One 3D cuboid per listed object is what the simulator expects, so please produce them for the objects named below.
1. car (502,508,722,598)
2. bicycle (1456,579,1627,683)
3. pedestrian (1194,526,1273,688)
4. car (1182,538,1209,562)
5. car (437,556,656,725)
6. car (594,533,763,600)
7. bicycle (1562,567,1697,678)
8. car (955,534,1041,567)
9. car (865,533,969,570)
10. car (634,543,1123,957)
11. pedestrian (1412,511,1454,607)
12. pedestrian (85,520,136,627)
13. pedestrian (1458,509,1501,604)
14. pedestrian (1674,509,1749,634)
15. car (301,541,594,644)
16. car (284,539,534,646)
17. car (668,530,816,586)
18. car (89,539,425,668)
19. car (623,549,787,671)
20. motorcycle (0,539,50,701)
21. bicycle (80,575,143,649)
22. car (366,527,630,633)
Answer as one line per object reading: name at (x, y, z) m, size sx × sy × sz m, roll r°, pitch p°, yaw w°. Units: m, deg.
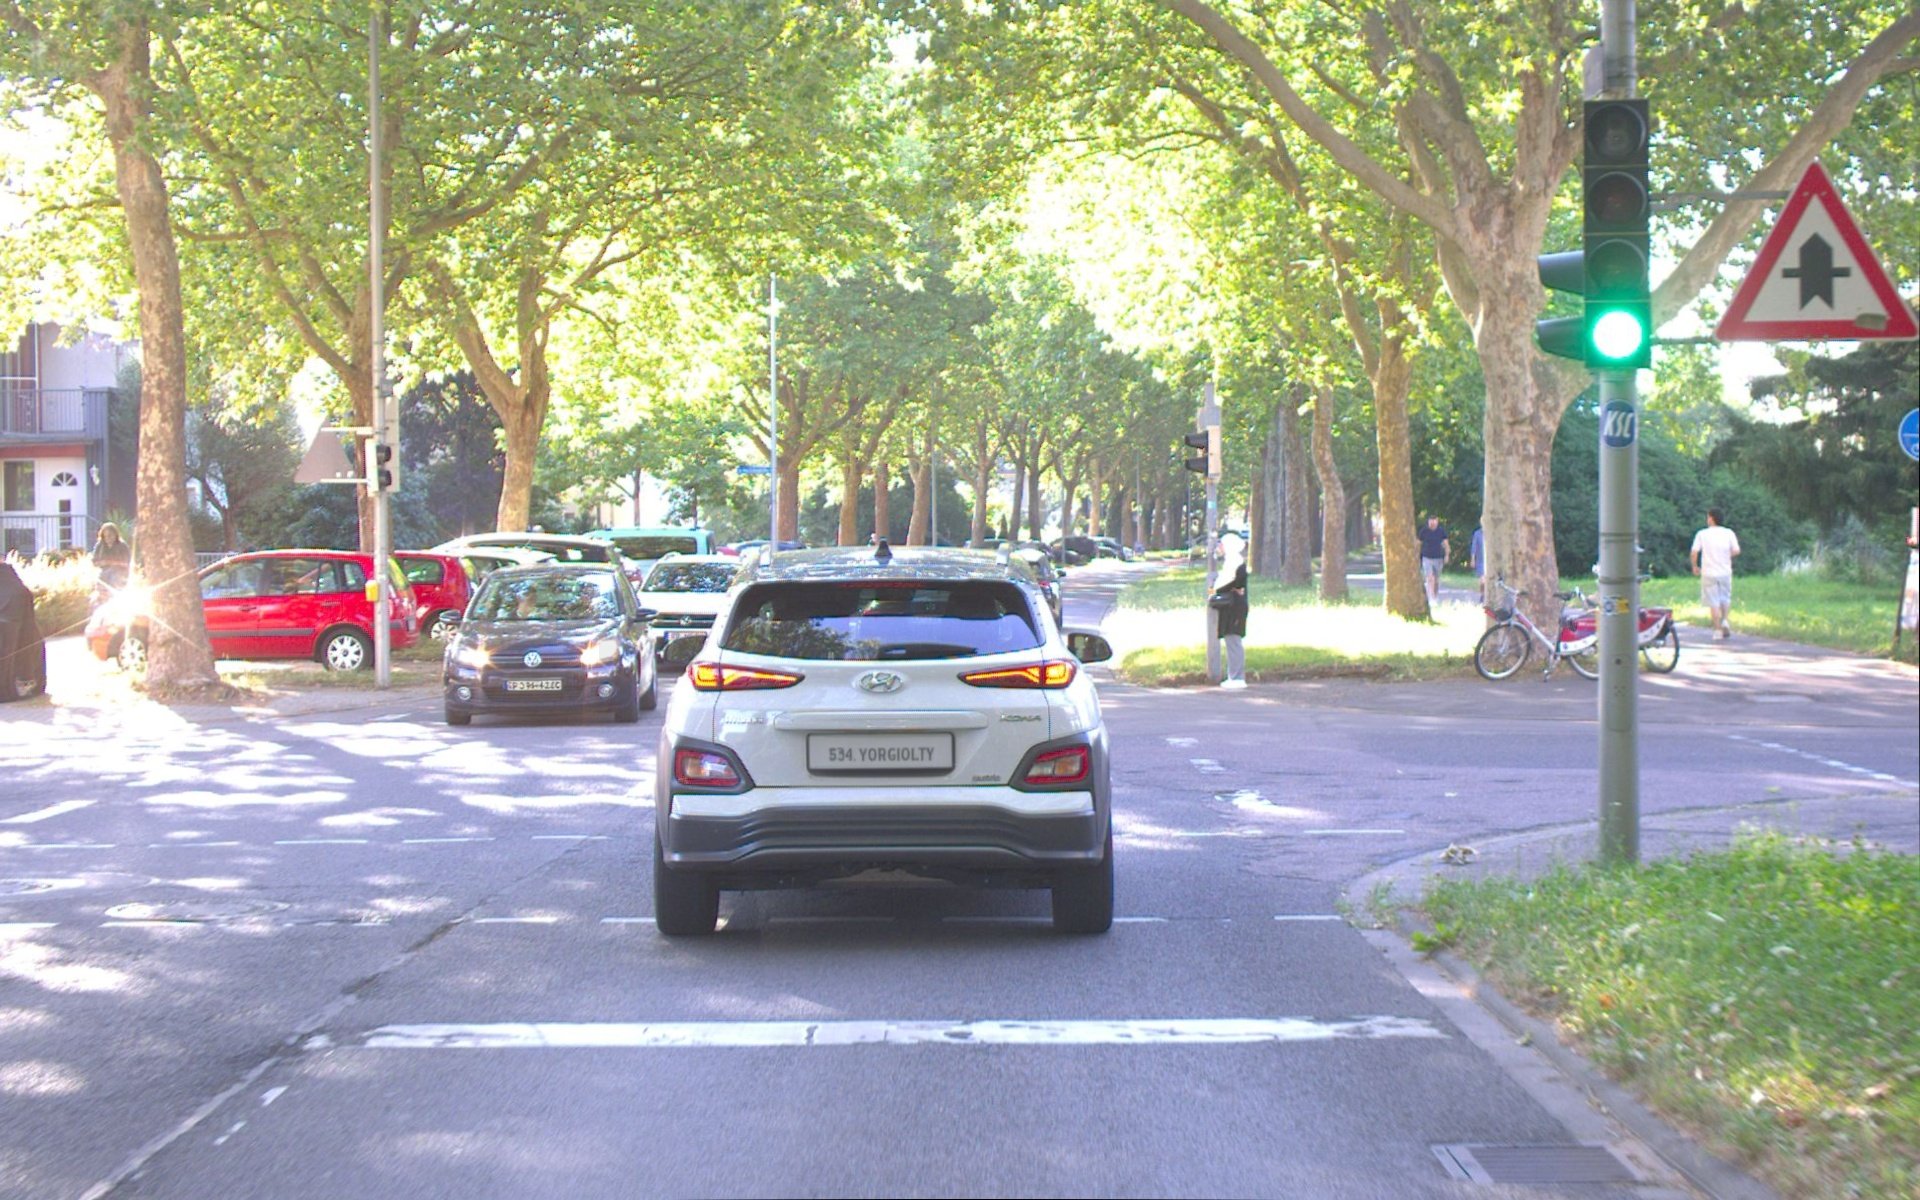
car at (-7.239, -0.991, 71.840) m, size 4.385 × 1.818 × 1.996 m, roll 0°, pitch 1°, yaw 0°
bicycle at (6.066, 0.312, 35.893) m, size 1.718 × 1.031 × 0.445 m, roll 0°, pitch 4°, yaw 36°
pedestrian at (2.982, 0.067, 37.481) m, size 0.634 × 1.713 × 0.826 m, roll -3°, pitch 1°, yaw -6°
car at (15.055, -3.194, 219.812) m, size 1.689 × 1.460 × 3.694 m, roll 1°, pitch 1°, yaw 4°
car at (-3.829, 0.333, 32.391) m, size 1.726 × 1.459 × 4.069 m, roll -1°, pitch 1°, yaw -2°
car at (-6.707, -0.801, 82.130) m, size 3.871 × 1.513 × 1.665 m, roll -1°, pitch 1°, yaw 0°
bicycle at (7.145, 0.228, 36.766) m, size 0.445 × 1.079 × 2.009 m, roll -3°, pitch 3°, yaw -19°
car at (1.883, -2.460, 171.179) m, size 4.183 × 1.579 × 2.000 m, roll 0°, pitch 1°, yaw 3°
car at (-1.656, -1.887, 133.555) m, size 3.826 × 1.311 × 1.790 m, roll 2°, pitch 1°, yaw 5°
car at (-0.340, 0.543, 14.977) m, size 1.835 × 1.550 × 4.000 m, roll 0°, pitch 1°, yaw -1°
pedestrian at (9.207, -0.802, 66.982) m, size 0.761 × 1.839 × 0.787 m, roll 0°, pitch 1°, yaw 5°
pedestrian at (-12.308, -0.386, 49.813) m, size 0.509 × 1.526 × 1.034 m, roll -1°, pitch 0°, yaw -3°
pedestrian at (10.111, -0.849, 66.899) m, size 0.755 × 1.841 × 0.802 m, roll 0°, pitch 1°, yaw 5°
pedestrian at (10.008, -0.384, 45.824) m, size 0.779 × 1.644 × 0.939 m, roll -1°, pitch 1°, yaw 1°
car at (-7.703, -0.125, 51.942) m, size 4.161 × 1.496 × 1.876 m, roll 1°, pitch 1°, yaw 0°
car at (-7.938, -0.127, 49.705) m, size 3.339 × 1.475 × 1.695 m, roll 1°, pitch 1°, yaw 0°
car at (-6.049, -1.166, 95.650) m, size 3.988 × 1.513 × 1.817 m, roll 0°, pitch 1°, yaw 0°
car at (-8.567, 0.032, 42.119) m, size 3.764 × 1.529 × 1.832 m, roll 0°, pitch 1°, yaw -1°
car at (-3.283, 0.095, 44.836) m, size 1.716 × 1.496 × 4.094 m, roll 0°, pitch 1°, yaw 2°
motorcycle at (-10.609, 0.194, 37.460) m, size 0.979 × 1.632 × 2.390 m, roll -1°, pitch 3°, yaw -6°
bicycle at (-12.299, 0.165, 49.875) m, size 0.509 × 1.038 × 2.153 m, roll -1°, pitch 0°, yaw -4°
car at (-7.608, -0.348, 56.866) m, size 4.091 × 1.710 × 1.831 m, roll 0°, pitch 1°, yaw 1°
